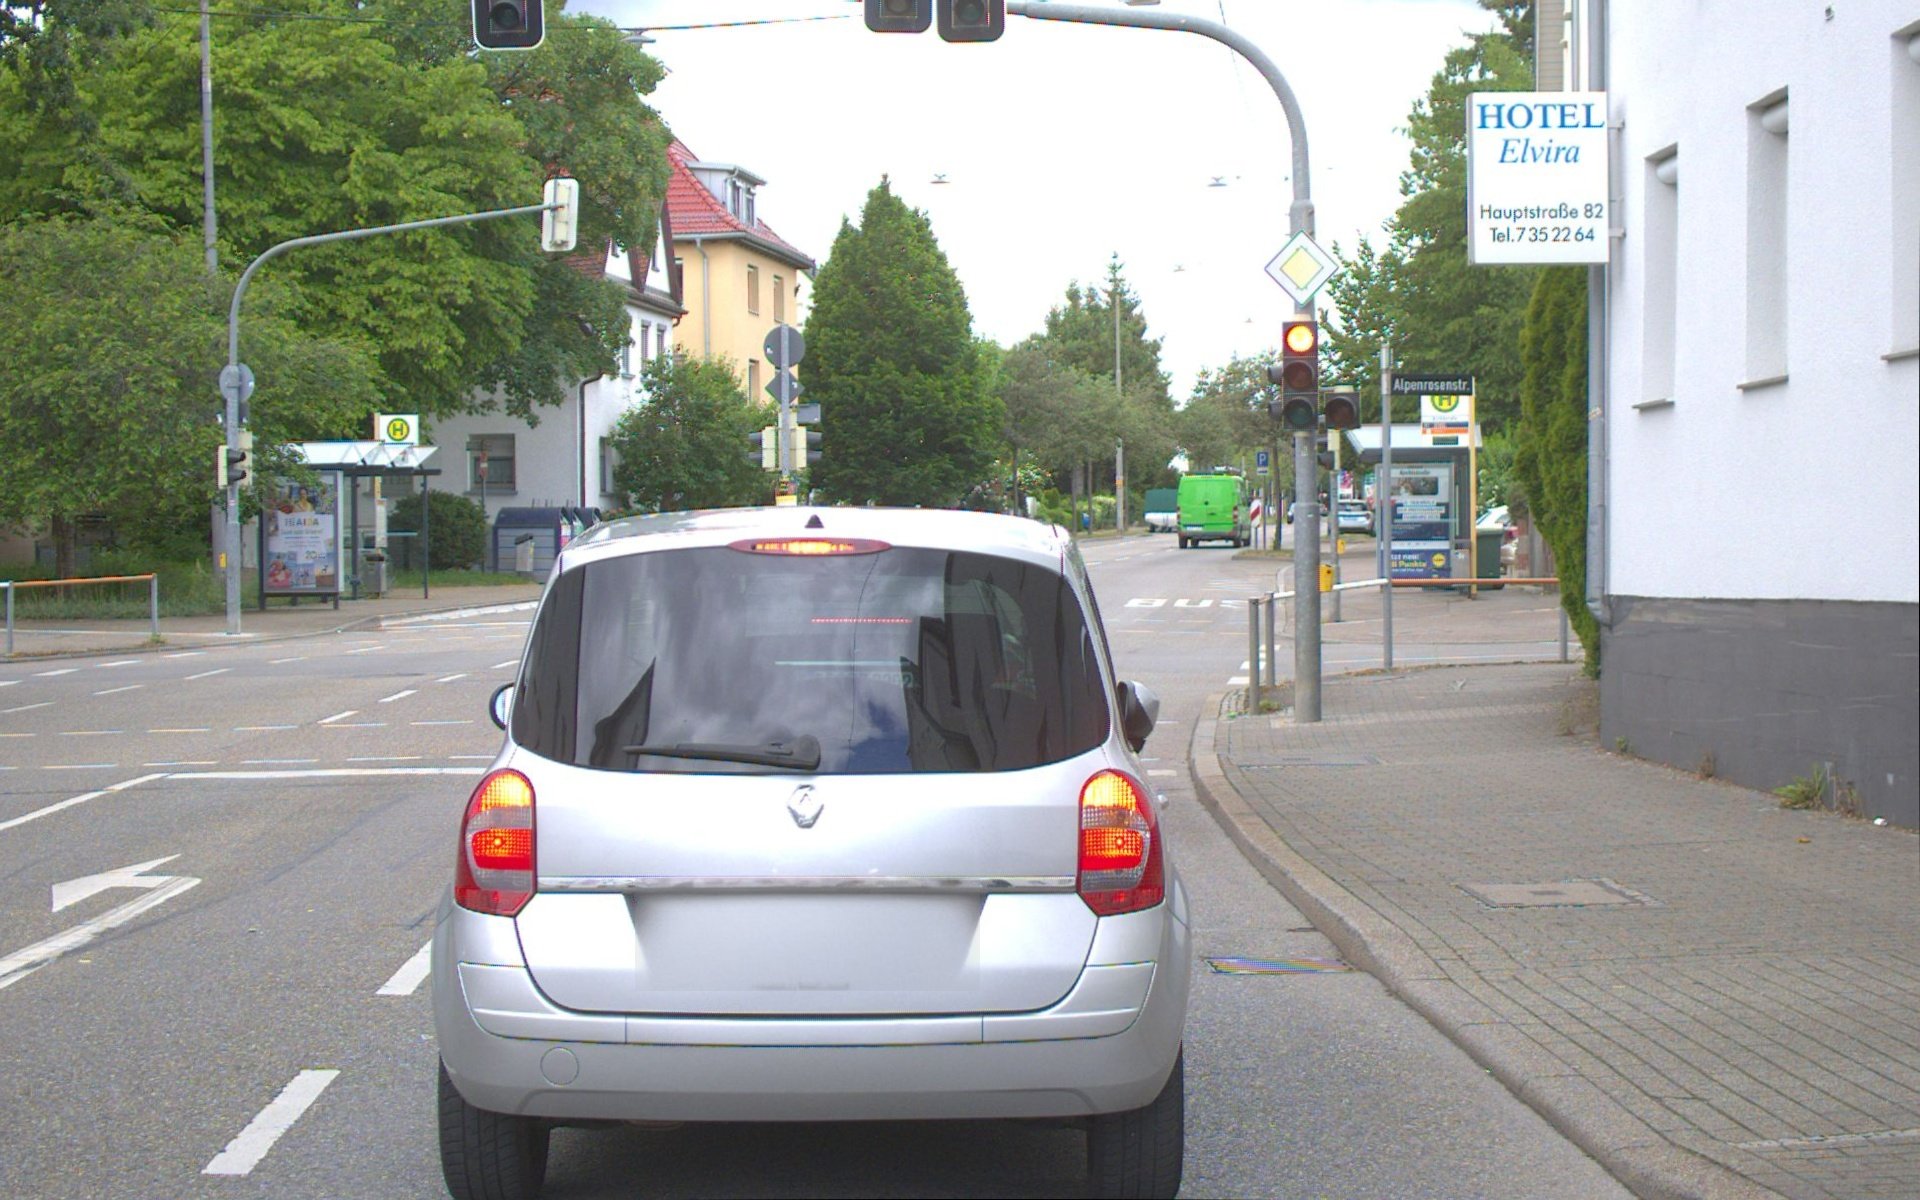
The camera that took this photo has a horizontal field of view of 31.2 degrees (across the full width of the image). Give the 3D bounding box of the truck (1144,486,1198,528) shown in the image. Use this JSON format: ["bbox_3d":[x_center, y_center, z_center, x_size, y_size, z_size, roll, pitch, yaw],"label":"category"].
[{"bbox_3d":[10.499,-4.580,170.593,2.102,2.007,5.745,1,1,9],"label":"truck"}]

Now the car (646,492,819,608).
[{"bbox_3d":[-3.814,-0.865,58.284,1.927,1.767,3.999,-4,1,10],"label":"car"}]

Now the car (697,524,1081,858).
[{"bbox_3d":[-0.361,0.388,17.727,1.755,1.525,3.797,1,1,-1],"label":"car"}]

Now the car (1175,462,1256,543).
[{"bbox_3d":[8.228,-3.106,110.411,2.060,2.503,5.593,1,1,10],"label":"car"}]

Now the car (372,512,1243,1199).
[{"bbox_3d":[-0.344,0.561,8.979,1.755,1.525,4.000,1,1,-1],"label":"car"}]
